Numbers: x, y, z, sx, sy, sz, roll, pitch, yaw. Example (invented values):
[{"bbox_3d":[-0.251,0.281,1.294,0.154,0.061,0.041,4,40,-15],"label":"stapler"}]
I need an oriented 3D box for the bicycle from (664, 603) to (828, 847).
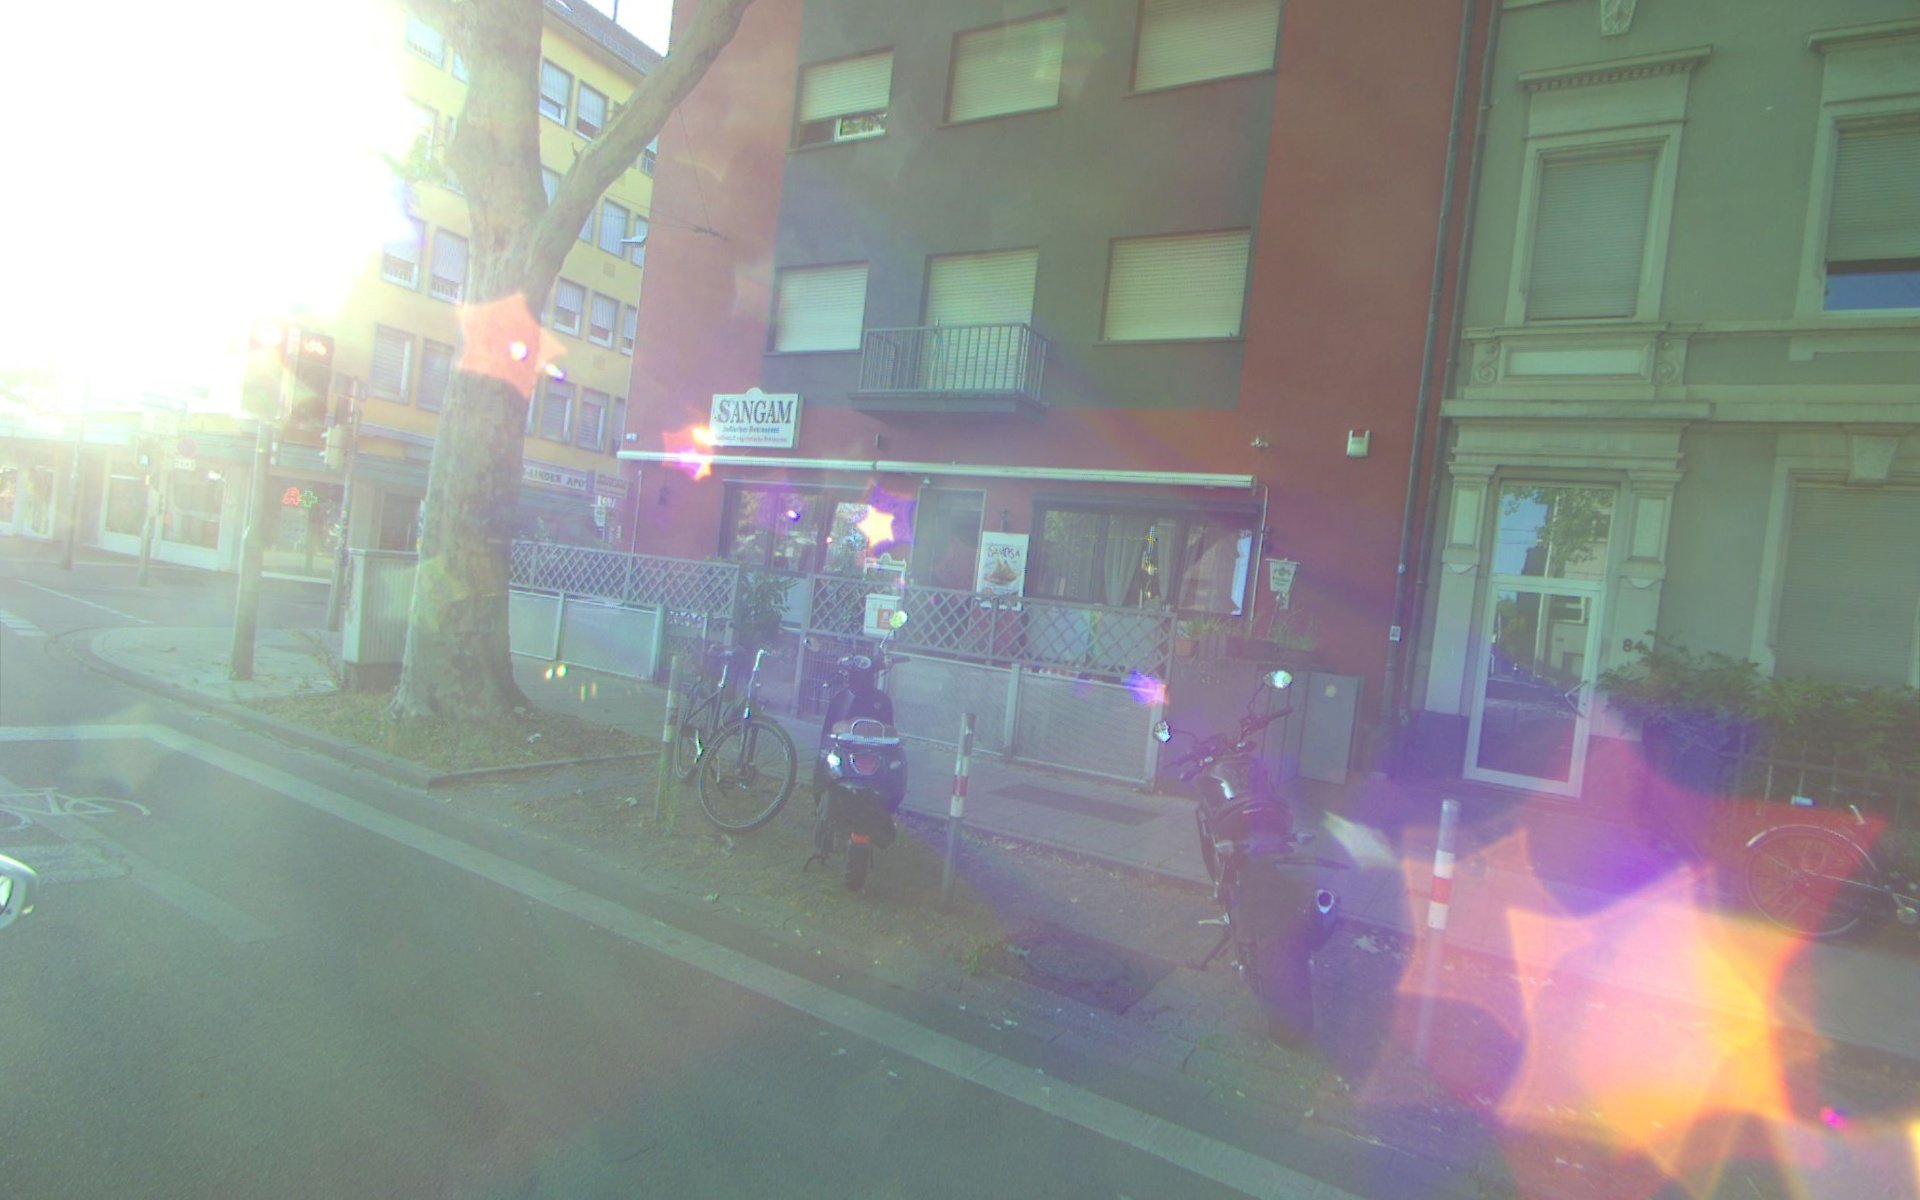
[{"bbox_3d":[-1.486,0.743,6.680,0.686,1.219,1.837,8,2,-20],"label":"bicycle"}]

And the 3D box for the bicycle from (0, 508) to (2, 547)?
[{"bbox_3d":[-23.425,-1.715,23.211,0.683,1.034,1.774,7,1,31],"label":"bicycle"}]

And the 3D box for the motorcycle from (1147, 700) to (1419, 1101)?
[{"bbox_3d":[1.323,1.154,4.619,0.752,1.077,2.212,7,2,9],"label":"motorcycle"}]

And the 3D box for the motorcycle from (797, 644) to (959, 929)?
[{"bbox_3d":[-0.536,0.917,5.654,0.591,1.166,1.994,6,0,-10],"label":"motorcycle"}]

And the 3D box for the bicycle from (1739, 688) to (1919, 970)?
[{"bbox_3d":[5.871,1.374,5.506,2.356,1.443,0.608,6,-1,32],"label":"bicycle"}]
